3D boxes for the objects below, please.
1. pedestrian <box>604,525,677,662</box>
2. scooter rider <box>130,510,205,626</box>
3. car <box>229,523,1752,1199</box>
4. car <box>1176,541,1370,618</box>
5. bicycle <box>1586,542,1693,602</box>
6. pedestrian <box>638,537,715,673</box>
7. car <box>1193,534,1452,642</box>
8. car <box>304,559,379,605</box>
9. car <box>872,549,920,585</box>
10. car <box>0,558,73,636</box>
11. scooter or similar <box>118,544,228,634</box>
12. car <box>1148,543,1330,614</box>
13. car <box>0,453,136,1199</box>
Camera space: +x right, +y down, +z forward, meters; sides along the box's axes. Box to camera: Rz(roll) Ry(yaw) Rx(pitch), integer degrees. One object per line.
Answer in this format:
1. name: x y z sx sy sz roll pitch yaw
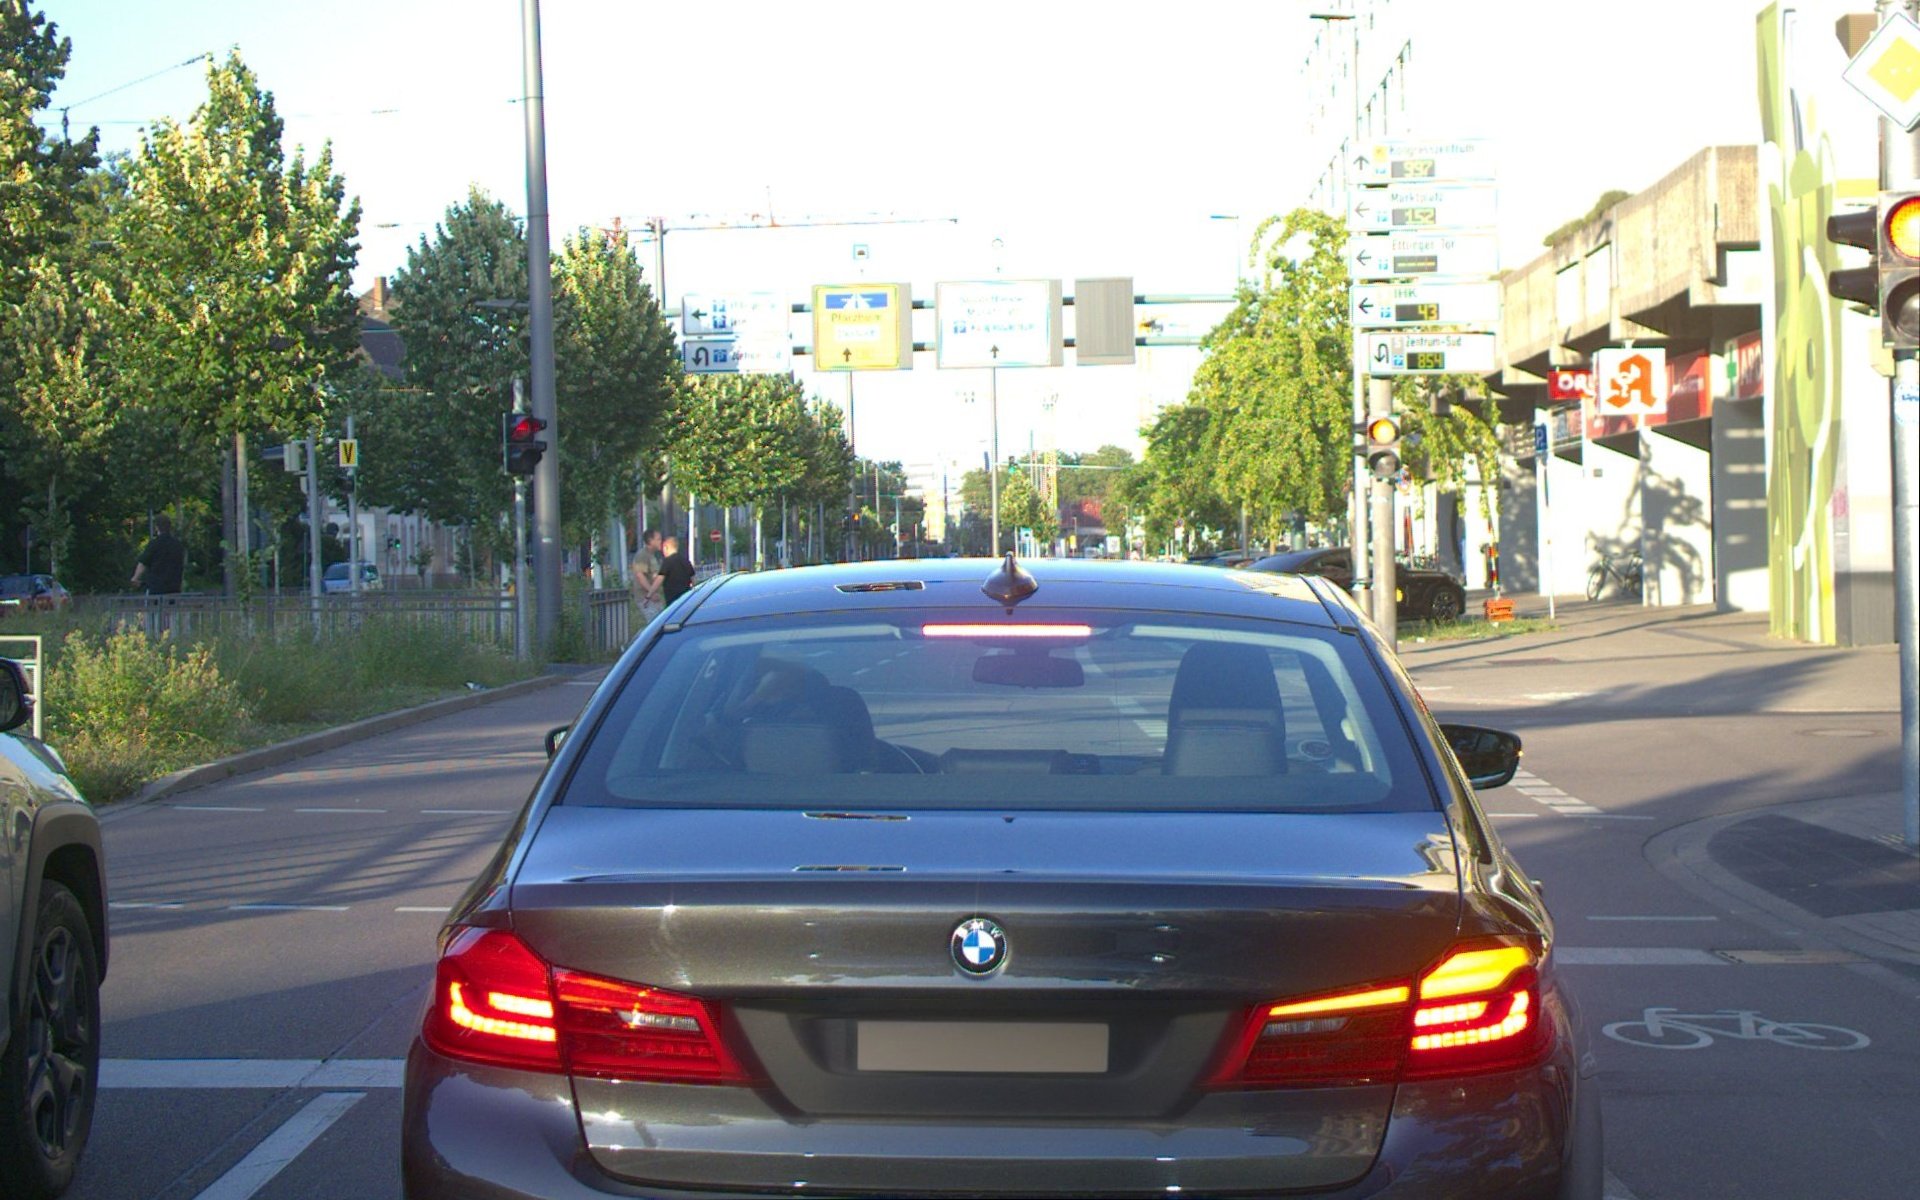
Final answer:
1. pedestrian: -4.044 -0.081 43.566 0.835 1.706 0.648 -1 1 -1
2. scooter rider: -10.471 -0.427 45.457 0.820 1.509 0.653 -1 1 -2
3. car: 0.144 0.620 6.637 1.932 1.476 4.522 0 2 3
4. car: 7.222 -0.499 79.142 4.255 1.653 1.860 -1 2 -35
5. bicycle: 13.619 -0.558 68.960 2.017 1.145 0.690 2 0 7
6. pedestrian: -3.376 0.052 40.959 0.835 1.581 0.812 -1 1 -1
7. car: 5.997 -0.233 56.615 4.256 1.653 1.860 -2 3 -42
8. car: -20.911 -0.633 116.406 1.800 1.476 3.783 -1 1 1
9. car: -2.714 -1.422 147.008 1.979 1.428 4.843 0 2 0
10. car: -23.362 -0.097 84.453 1.993 1.738 4.751 0 2 -1
11. scooter or similar: -10.396 -0.153 45.432 1.329 1.149 0.513 -1 1 -2
12. car: 6.922 -0.556 85.148 4.255 1.653 1.860 -1 2 -35
13. car: -2.845 0.557 6.100 1.854 1.653 4.269 0 2 -2
